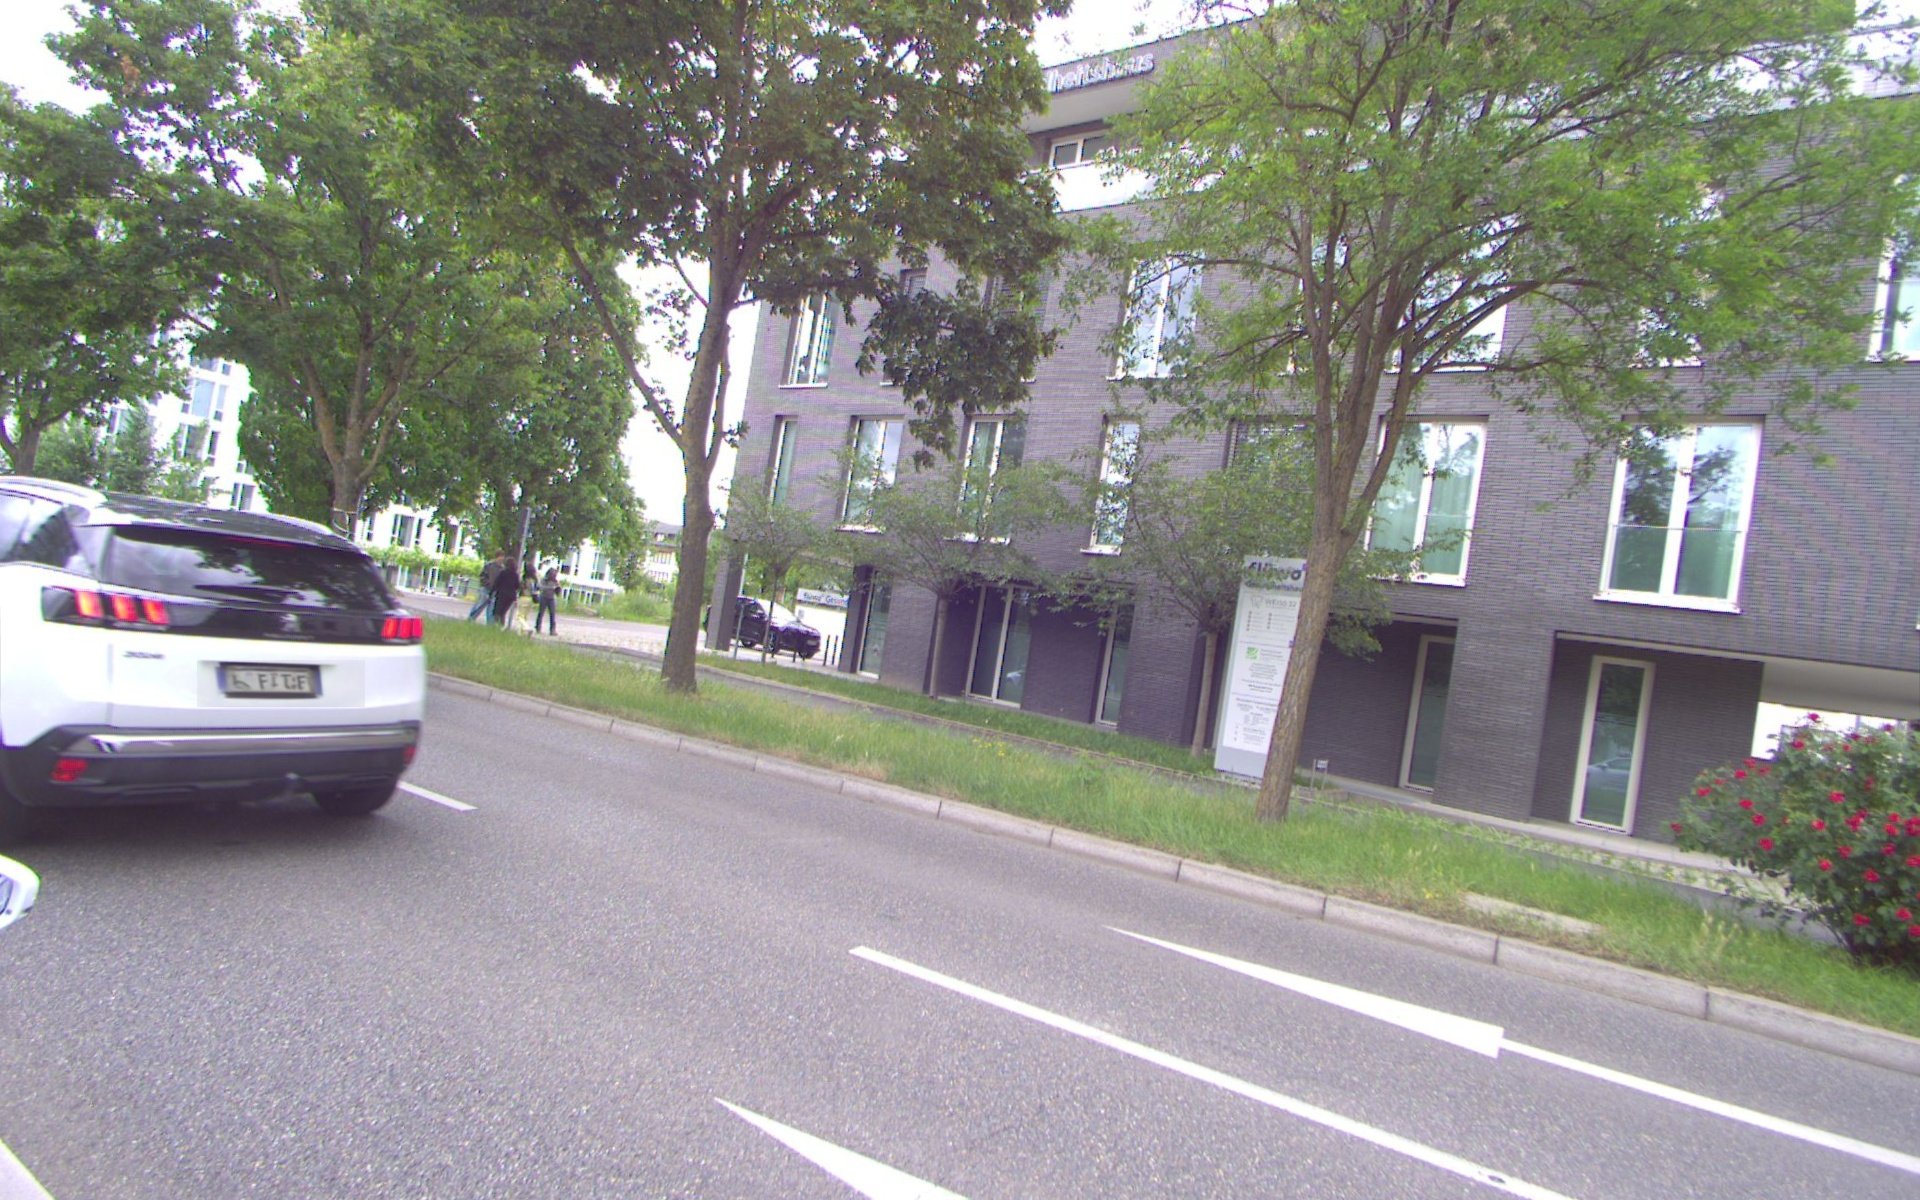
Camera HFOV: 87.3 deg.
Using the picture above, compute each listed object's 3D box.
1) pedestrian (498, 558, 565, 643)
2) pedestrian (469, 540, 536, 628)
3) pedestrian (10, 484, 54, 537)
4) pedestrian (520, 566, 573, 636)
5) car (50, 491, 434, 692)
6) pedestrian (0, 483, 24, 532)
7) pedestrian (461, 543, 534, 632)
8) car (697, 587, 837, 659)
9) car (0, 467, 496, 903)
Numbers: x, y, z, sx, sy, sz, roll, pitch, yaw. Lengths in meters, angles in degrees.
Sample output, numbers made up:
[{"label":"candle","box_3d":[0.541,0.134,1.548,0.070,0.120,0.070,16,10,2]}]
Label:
[{"label":"pedestrian","box_3d":[-9.208,0.013,21.624,0.937,1.679,0.779,7,-1,38]},{"label":"pedestrian","box_3d":[-10.704,-0.352,23.570,0.946,1.889,0.978,8,-1,-8]},{"label":"pedestrian","box_3d":[-33.001,-3.179,35.773,0.868,1.705,0.768,6,-1,31]},{"label":"pedestrian","box_3d":[-10.064,0.038,24.516,0.821,1.575,0.875,8,-1,-8]},{"label":"car","box_3d":[-7.347,-0.123,10.206,3.934,1.530,1.660,6,-2,32]},{"label":"pedestrian","box_3d":[-33.396,-3.257,35.118,0.868,1.614,0.701,6,-1,31]},{"label":"pedestrian","box_3d":[-9.674,-0.261,21.027,1.043,1.679,0.796,7,-1,38]},{"label":"car","box_3d":[-6.103,0.716,31.694,4.080,1.665,1.759,7,-2,32]},{"label":"car","box_3d":[-4.828,0.193,5.630,4.241,1.615,1.858,7,-1,31]}]
